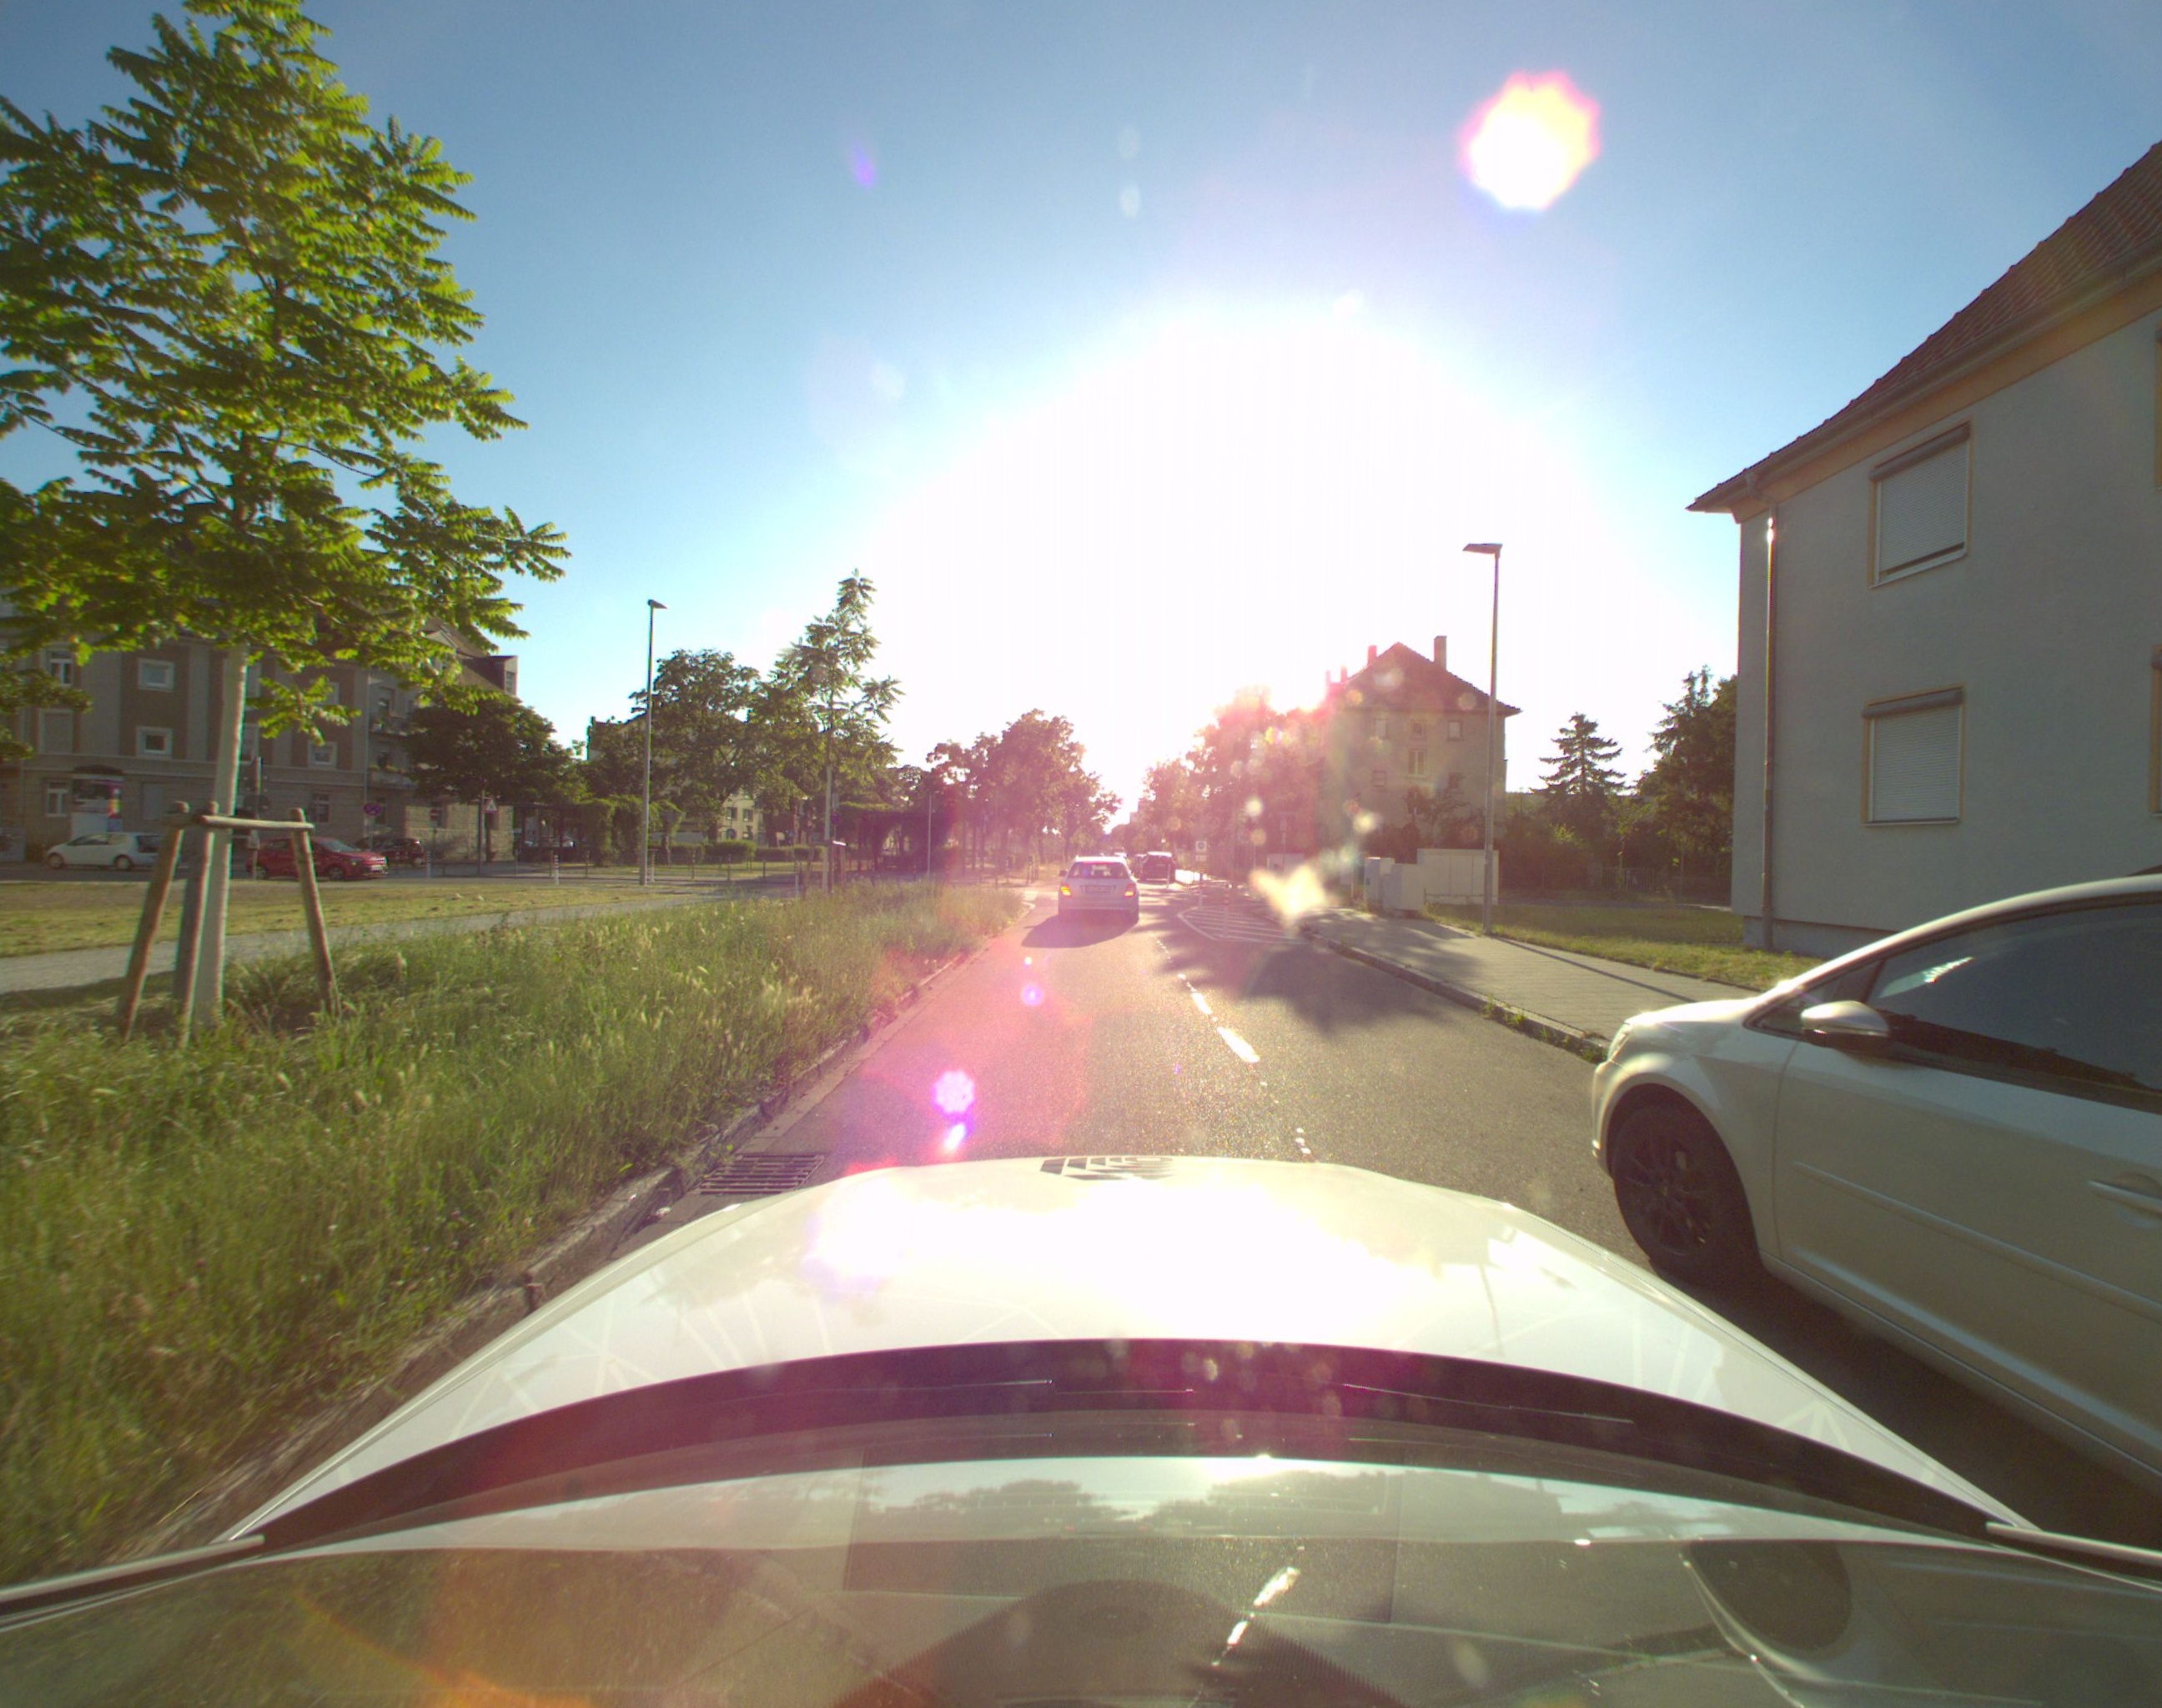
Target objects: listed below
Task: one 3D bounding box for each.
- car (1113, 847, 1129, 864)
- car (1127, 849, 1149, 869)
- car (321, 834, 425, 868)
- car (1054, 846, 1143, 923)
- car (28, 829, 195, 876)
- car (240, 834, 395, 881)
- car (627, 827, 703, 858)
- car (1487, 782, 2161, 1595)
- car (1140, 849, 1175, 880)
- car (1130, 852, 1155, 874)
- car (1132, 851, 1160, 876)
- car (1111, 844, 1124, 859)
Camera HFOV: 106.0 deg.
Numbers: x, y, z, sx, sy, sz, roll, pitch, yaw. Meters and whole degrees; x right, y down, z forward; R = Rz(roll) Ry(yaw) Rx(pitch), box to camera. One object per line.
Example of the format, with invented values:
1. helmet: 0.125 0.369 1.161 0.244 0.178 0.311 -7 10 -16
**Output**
1. car: 5.088 0.174 103.837 1.981 2.023 4.002 1 0 2
2. car: 4.806 0.442 69.131 1.715 1.597 4.002 1 0 2
3. car: -38.065 -0.124 43.928 1.637 1.707 4.296 -2 -1 3
4. car: 0.434 0.610 18.813 1.816 1.566 4.002 0 1 2
5. car: -36.696 -0.045 30.910 3.881 1.596 2.000 -2 -1 0
6. car: -26.254 0.101 28.106 3.580 1.481 1.682 2 2 -6
7. car: -39.725 -1.068 77.830 6.332 2.720 1.984 1 0 -29
8. car: 3.055 0.712 1.950 1.712 1.639 4.560 3 0 -2
9. car: 4.251 0.585 45.587 1.715 1.597 4.001 1 -1 2
10. car: 4.539 0.648 60.471 1.715 1.597 4.002 1 0 2
11. car: 4.343 0.593 54.847 1.715 1.597 4.002 1 0 2
12. car: 5.408 -0.356 122.137 1.854 2.193 5.072 1 0 2
